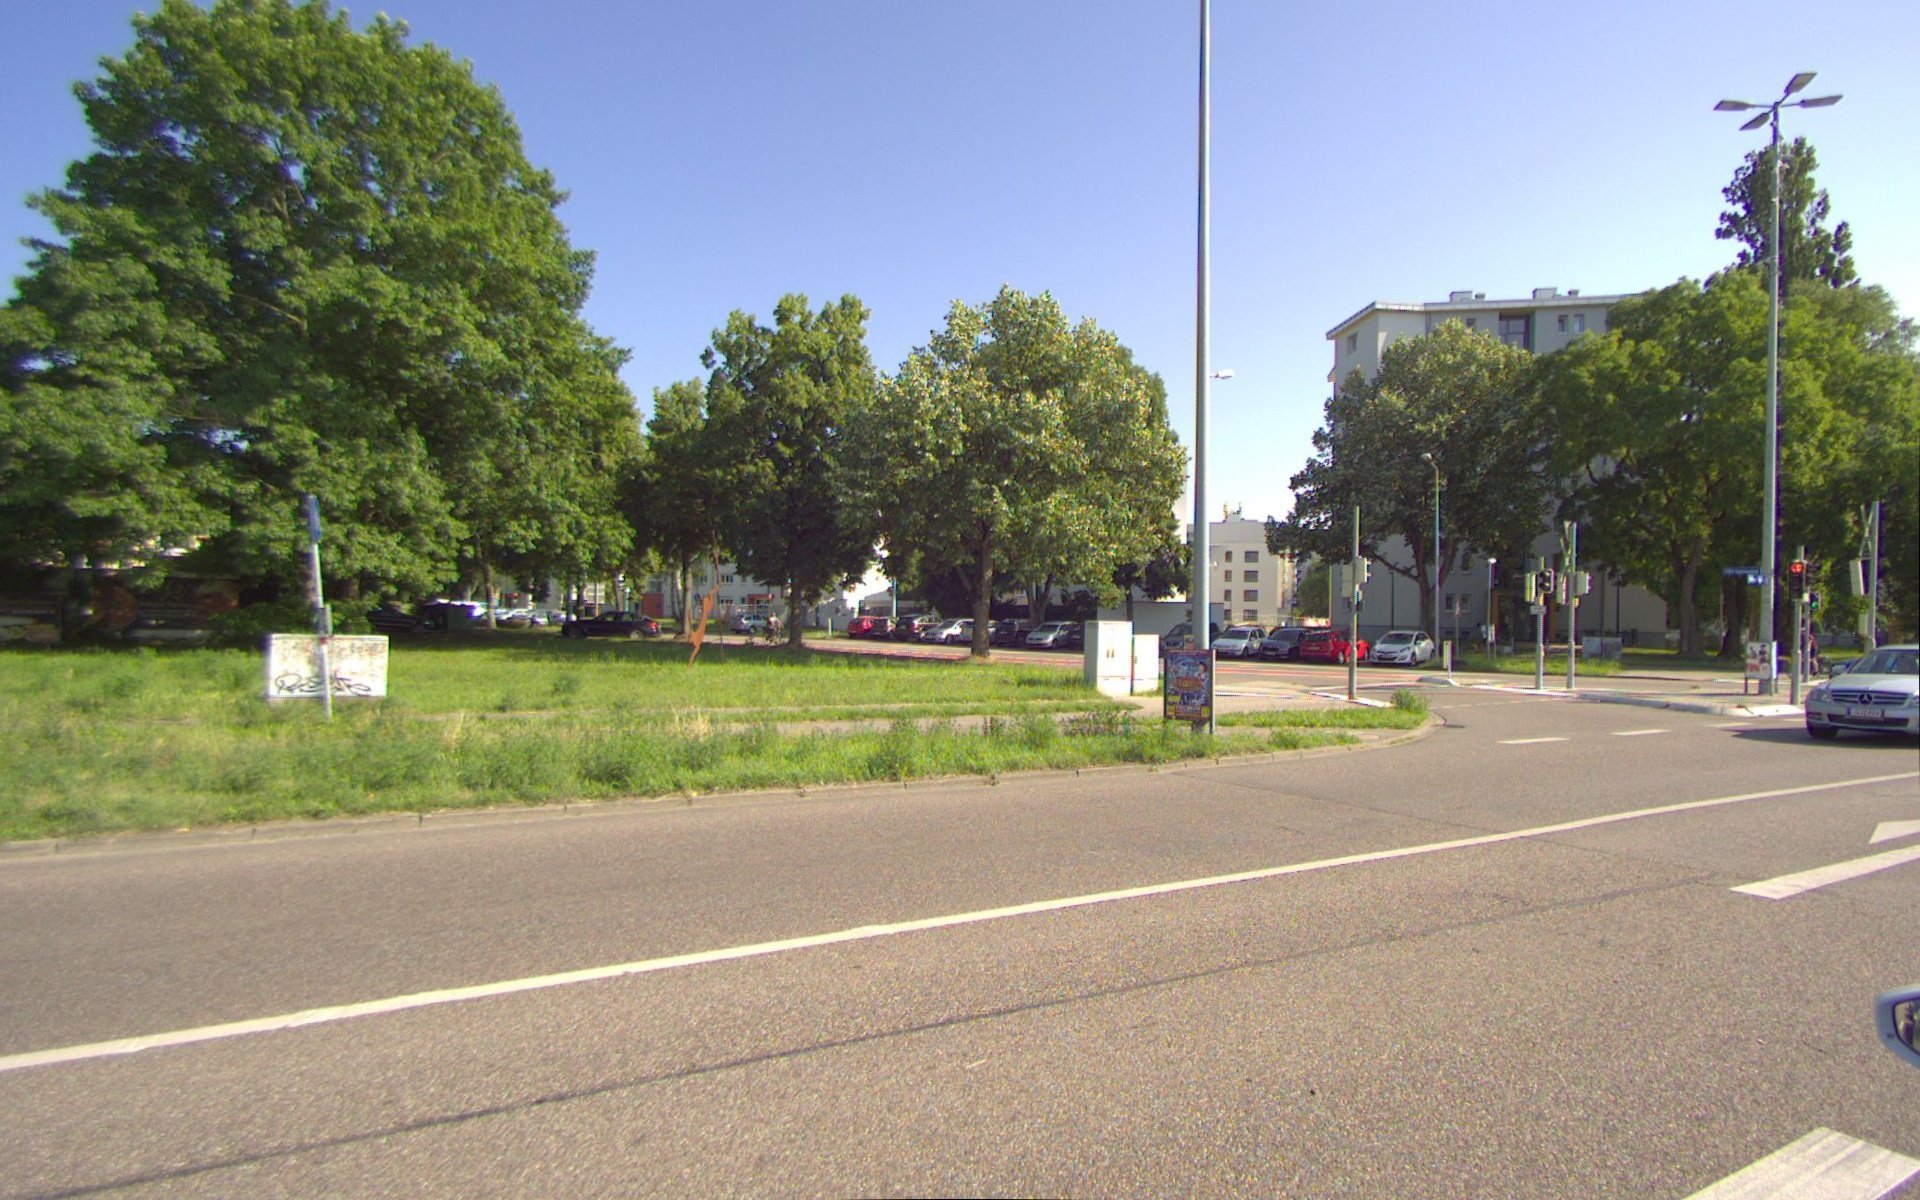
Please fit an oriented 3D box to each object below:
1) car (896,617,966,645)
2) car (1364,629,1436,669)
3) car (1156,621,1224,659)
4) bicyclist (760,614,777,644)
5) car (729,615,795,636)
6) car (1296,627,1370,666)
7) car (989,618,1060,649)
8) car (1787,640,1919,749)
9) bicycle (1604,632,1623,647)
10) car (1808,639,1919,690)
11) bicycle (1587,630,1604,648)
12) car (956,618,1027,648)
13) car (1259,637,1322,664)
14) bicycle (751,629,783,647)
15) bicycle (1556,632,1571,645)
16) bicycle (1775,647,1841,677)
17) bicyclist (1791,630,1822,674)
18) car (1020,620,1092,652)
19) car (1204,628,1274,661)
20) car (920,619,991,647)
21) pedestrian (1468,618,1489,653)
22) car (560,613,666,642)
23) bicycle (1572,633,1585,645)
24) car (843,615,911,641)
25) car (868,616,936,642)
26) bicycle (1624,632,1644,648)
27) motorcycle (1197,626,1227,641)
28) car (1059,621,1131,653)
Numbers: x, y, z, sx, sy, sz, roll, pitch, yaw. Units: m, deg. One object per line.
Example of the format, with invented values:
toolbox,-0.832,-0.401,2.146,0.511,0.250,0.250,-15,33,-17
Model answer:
car,-1.806,1.951,64.080,1.758,1.497,4.791,0,2,39
car,19.618,2.133,44.715,1.760,1.459,3.976,0,2,43
car,11.901,2.027,51.817,1.759,1.835,3.979,1,-1,42
bicyclist,-10.055,1.520,52.643,0.617,1.544,0.616,1,1,36
car,-14.910,1.958,75.809,1.761,1.497,4.785,0,-1,44
car,17.367,2.112,46.701,1.761,1.435,3.974,1,3,44
car,3.852,1.952,59.322,1.758,1.497,4.791,0,2,39
car,14.640,1.358,15.292,4.316,1.484,1.695,1,-2,-29
bicycle,40.977,2.487,62.974,0.663,0.887,2.483,1,-1,26
car,28.847,1.966,30.696,4.158,1.433,1.786,1,-1,8
bicycle,40.010,2.445,63.237,0.601,1.080,1.916,2,-2,24
car,1.955,1.968,60.903,1.758,1.497,4.755,0,2,39
car,15.847,2.395,48.081,1.445,1.209,3.765,0,-1,43
bicycle,-10.119,1.984,52.650,1.781,0.915,0.651,1,-1,39
bicycle,38.618,2.456,64.279,0.574,0.718,2.236,1,0,26
bicycle,31.073,2.277,36.812,2.033,1.054,0.621,1,-1,-7
bicyclist,31.007,1.887,36.807,0.591,1.581,0.609,1,-1,-6
car,5.505,1.996,57.241,1.758,1.497,4.692,0,2,39
car,13.918,2.205,49.973,1.759,1.541,3.979,0,-1,42
car,-0.239,2.004,62.152,1.758,1.497,4.791,0,2,39
pedestrian,26.179,1.795,50.672,0.693,1.736,0.623,1,0,-17
car,-17.035,1.348,49.435,4.682,1.338,1.524,1,-1,-8
bicycle,39.308,2.474,63.829,0.497,0.718,2.114,1,0,26
car,-5.539,1.876,67.811,1.758,1.497,4.791,0,2,39
car,-3.780,1.889,66.339,1.758,1.497,4.791,0,2,39
bicycle,41.925,2.499,62.497,0.658,0.932,2.404,1,-1,26
motorcycle,18.215,2.415,72.589,2.003,0.977,0.527,1,0,4
car,7.659,2.061,56.582,1.758,1.497,4.791,0,2,39
